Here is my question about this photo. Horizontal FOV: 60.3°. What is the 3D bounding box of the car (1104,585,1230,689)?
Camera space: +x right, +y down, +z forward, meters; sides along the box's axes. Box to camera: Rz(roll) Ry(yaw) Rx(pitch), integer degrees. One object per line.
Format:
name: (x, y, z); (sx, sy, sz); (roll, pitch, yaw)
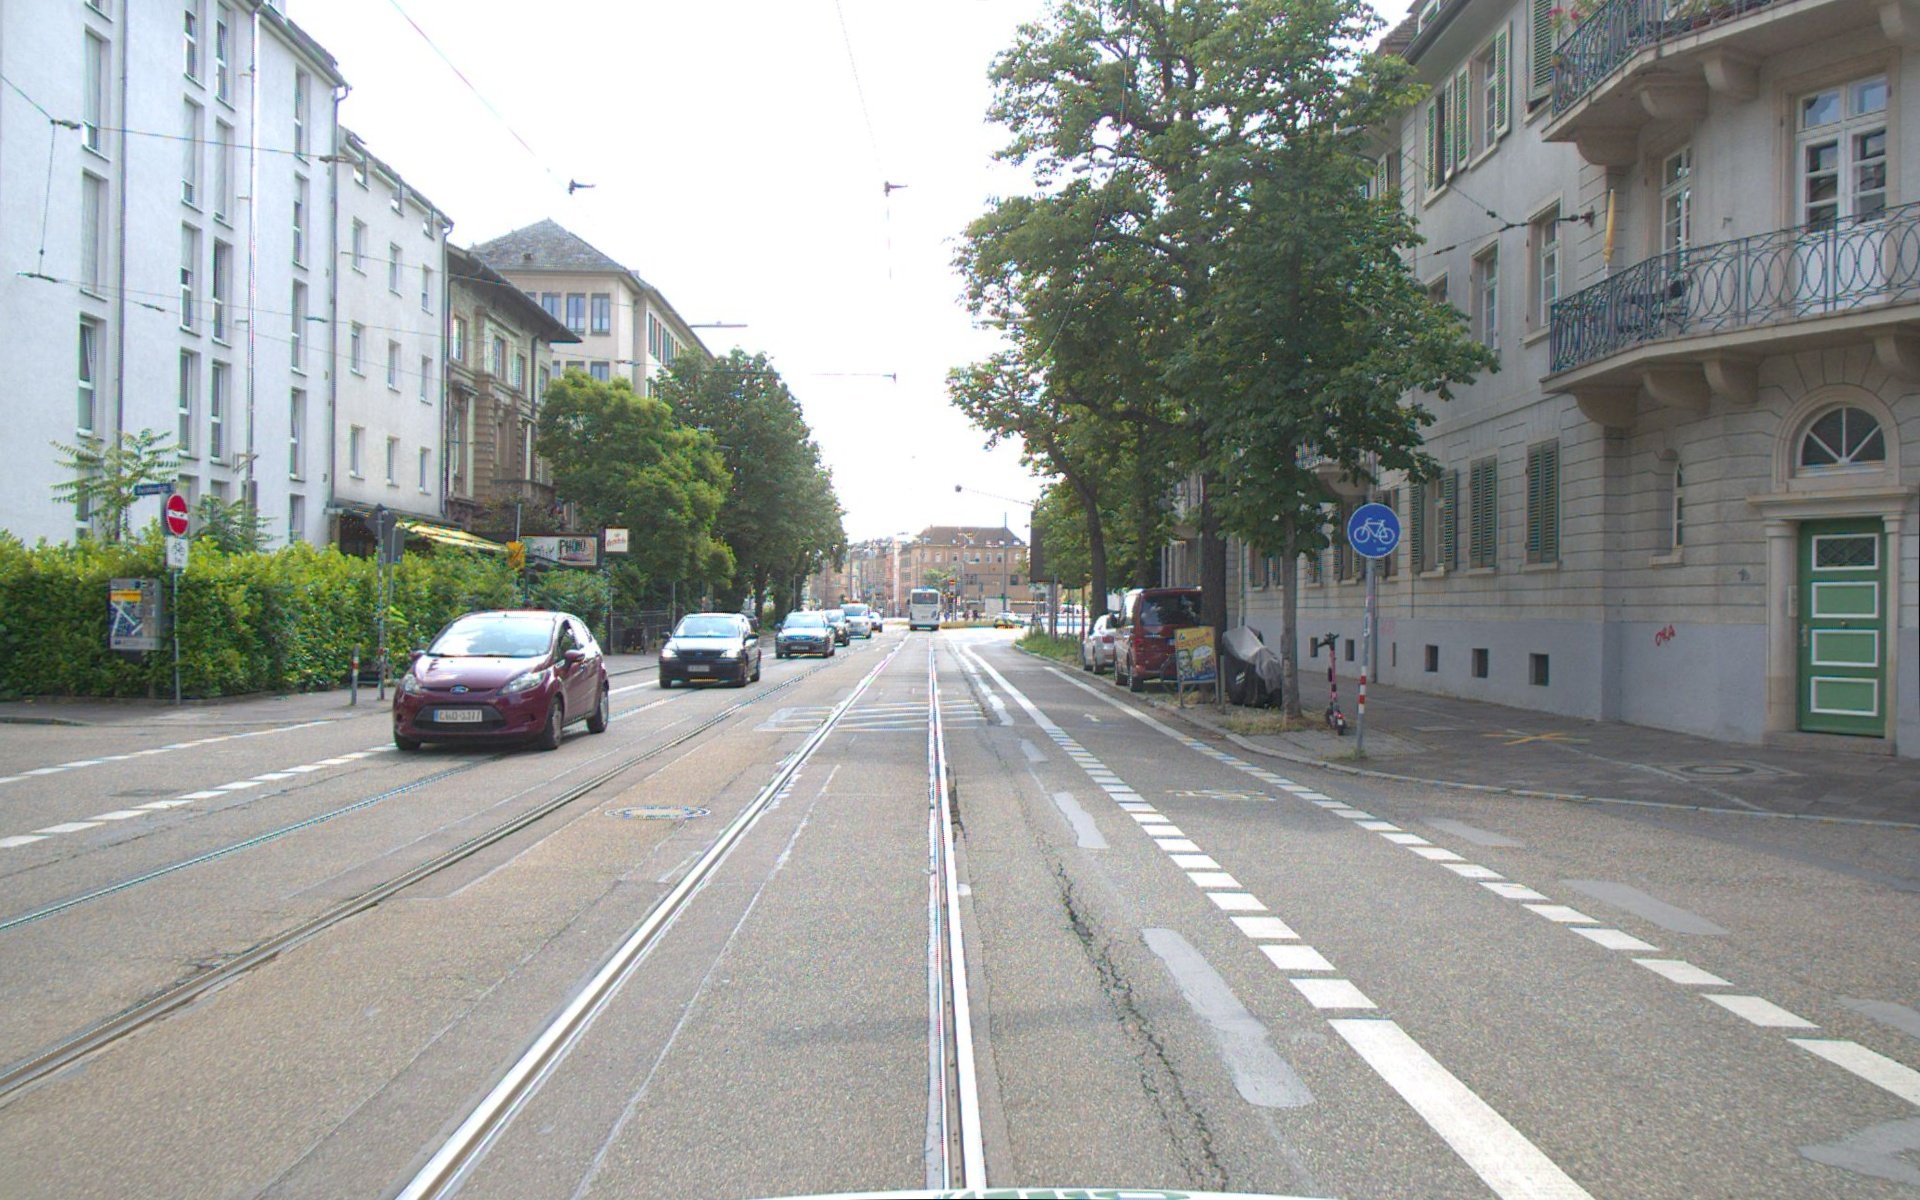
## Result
car: (4.160, 0.714, 33.966); (1.857, 1.975, 4.949); (0, 0, -1)

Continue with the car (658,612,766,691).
car: (-4.847, 0.965, 32.799); (1.595, 1.432, 4.128); (1, 0, -1)

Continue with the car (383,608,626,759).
car: (-4.936, 0.841, 18.446); (1.562, 1.465, 3.936); (-1, 0, 0)

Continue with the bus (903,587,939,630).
bus: (-3.361, 0.771, 140.947); (2.859, 3.386, 12.201); (1, -1, -2)

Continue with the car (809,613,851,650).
car: (-5.737, 1.357, 73.173); (1.598, 1.584, 3.821); (0, 0, -1)

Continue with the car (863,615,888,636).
car: (-6.186, 1.860, 121.333); (1.654, 1.426, 3.929); (-1, -1, -2)

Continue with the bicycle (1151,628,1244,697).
bicycle: (4.298, 1.123, 29.925); (1.578, 1.224, 0.589); (0, -1, -4)

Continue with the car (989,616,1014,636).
car: (4.057, 2.491, 159.863); (2.085, 1.713, 4.105); (2, 0, 5)

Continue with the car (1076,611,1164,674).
car: (4.003, 1.036, 42.114); (1.672, 1.525, 4.787); (0, 0, -1)

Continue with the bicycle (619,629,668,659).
bicycle: (-11.035, 1.533, 57.748); (1.119, 0.924, 2.988); (3, 0, -1)

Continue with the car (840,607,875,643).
car: (-5.696, 1.362, 92.455); (1.859, 1.941, 5.381); (0, 0, -2)

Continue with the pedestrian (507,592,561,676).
pedestrian: (-10.039, 0.788, 39.014); (1.038, 1.951, 0.829); (0, -1, 0)

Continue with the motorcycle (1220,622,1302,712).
motorcycle: (4.755, 1.030, 26.312); (0.840, 1.344, 2.445); (1, -1, 0)

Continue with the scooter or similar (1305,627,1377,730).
scooter or similar: (4.944, 0.990, 21.519); (0.521, 1.273, 1.719); (0, -1, 0)

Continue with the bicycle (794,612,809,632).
bicycle: (-9.833, 1.358, 102.773); (0.590, 1.116, 2.023); (-5, 0, 1)

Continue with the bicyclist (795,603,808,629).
bicyclist: (-9.865, 0.994, 102.711); (0.587, 1.518, 0.882); (-5, 0, 1)

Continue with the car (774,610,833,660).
car: (-5.172, 1.127, 54.981); (1.692, 1.567, 4.275); (-1, 0, -2)
